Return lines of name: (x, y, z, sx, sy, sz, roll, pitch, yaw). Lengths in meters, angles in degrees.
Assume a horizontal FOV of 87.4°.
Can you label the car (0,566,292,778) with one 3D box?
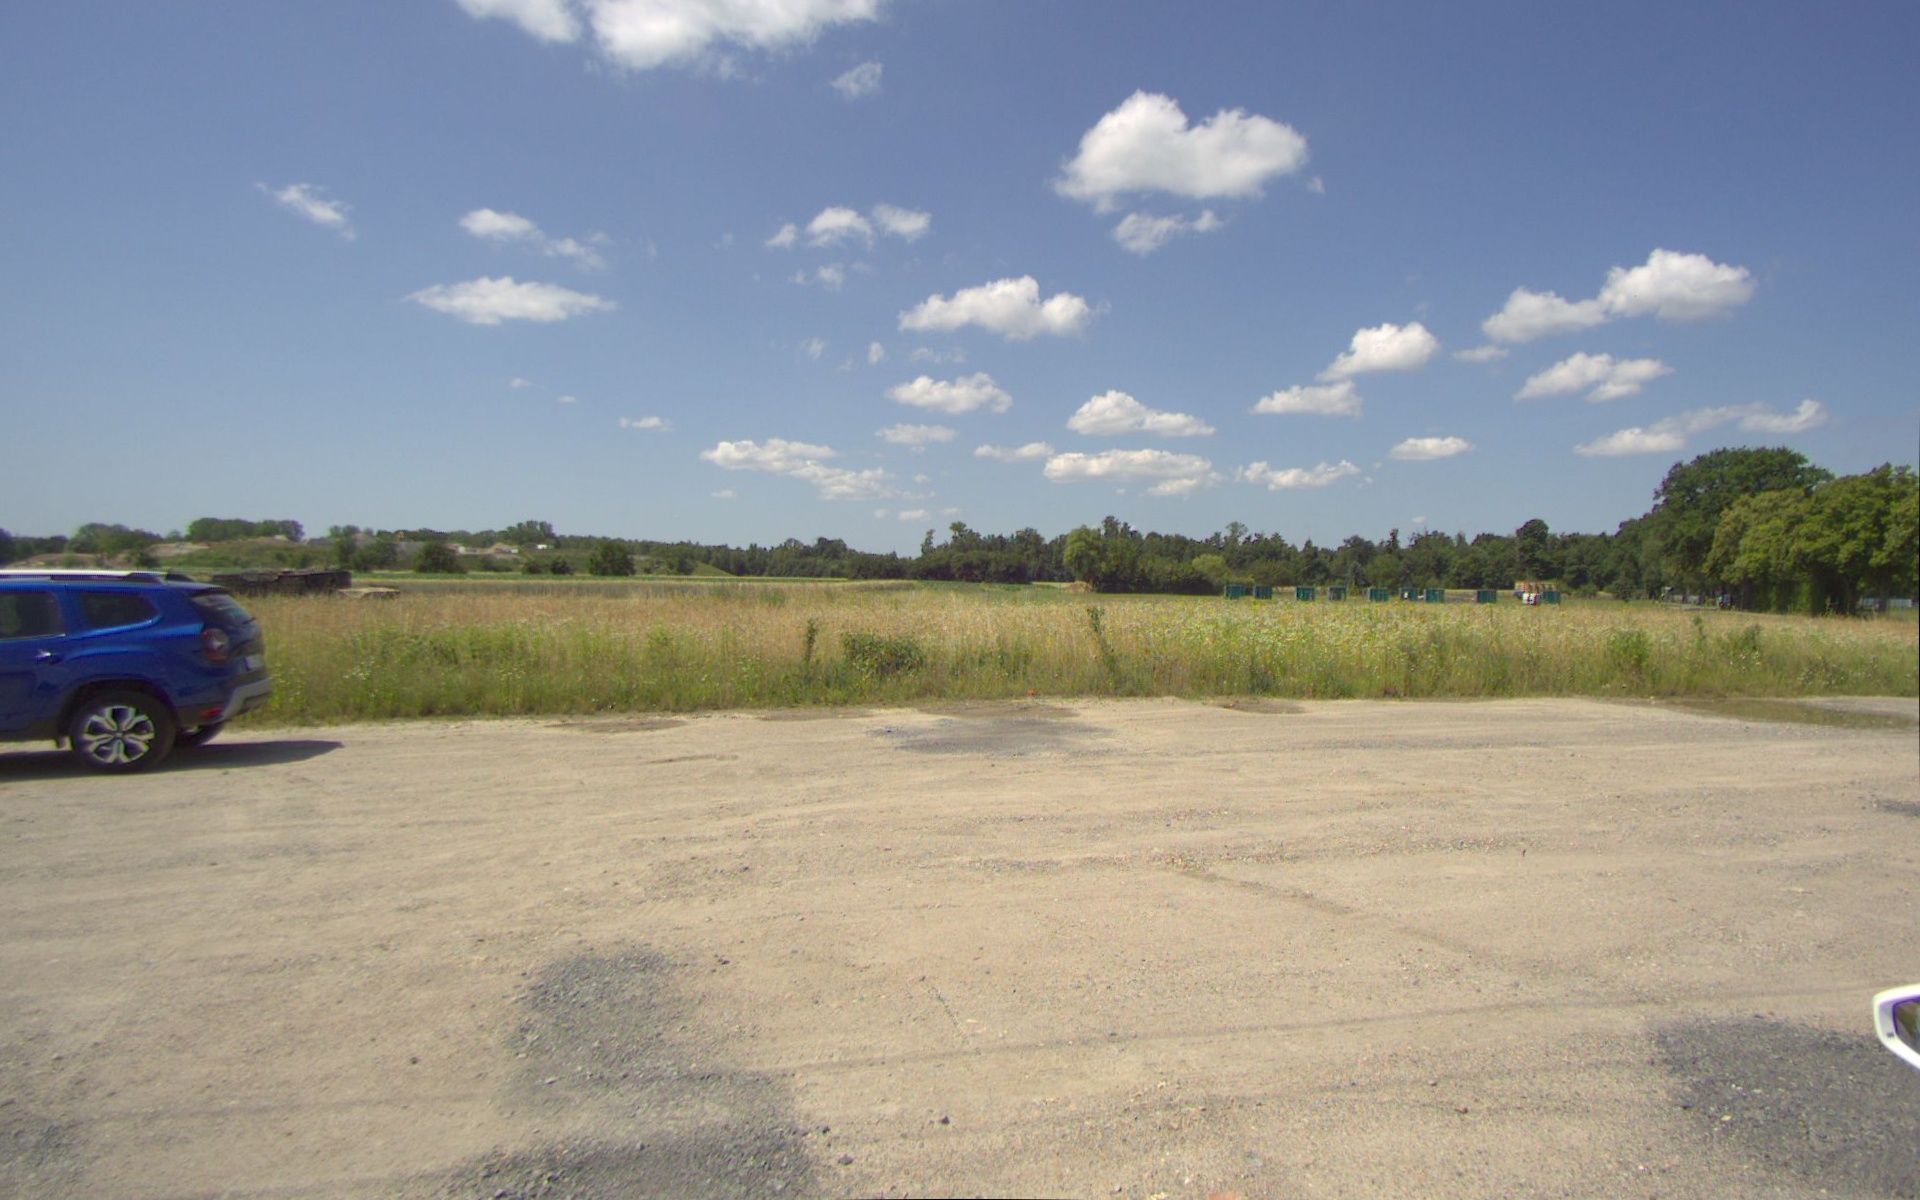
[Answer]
car: (-8.557, 0.571, 8.612, 4.394, 1.683, 1.854, 0, 1, -23)
